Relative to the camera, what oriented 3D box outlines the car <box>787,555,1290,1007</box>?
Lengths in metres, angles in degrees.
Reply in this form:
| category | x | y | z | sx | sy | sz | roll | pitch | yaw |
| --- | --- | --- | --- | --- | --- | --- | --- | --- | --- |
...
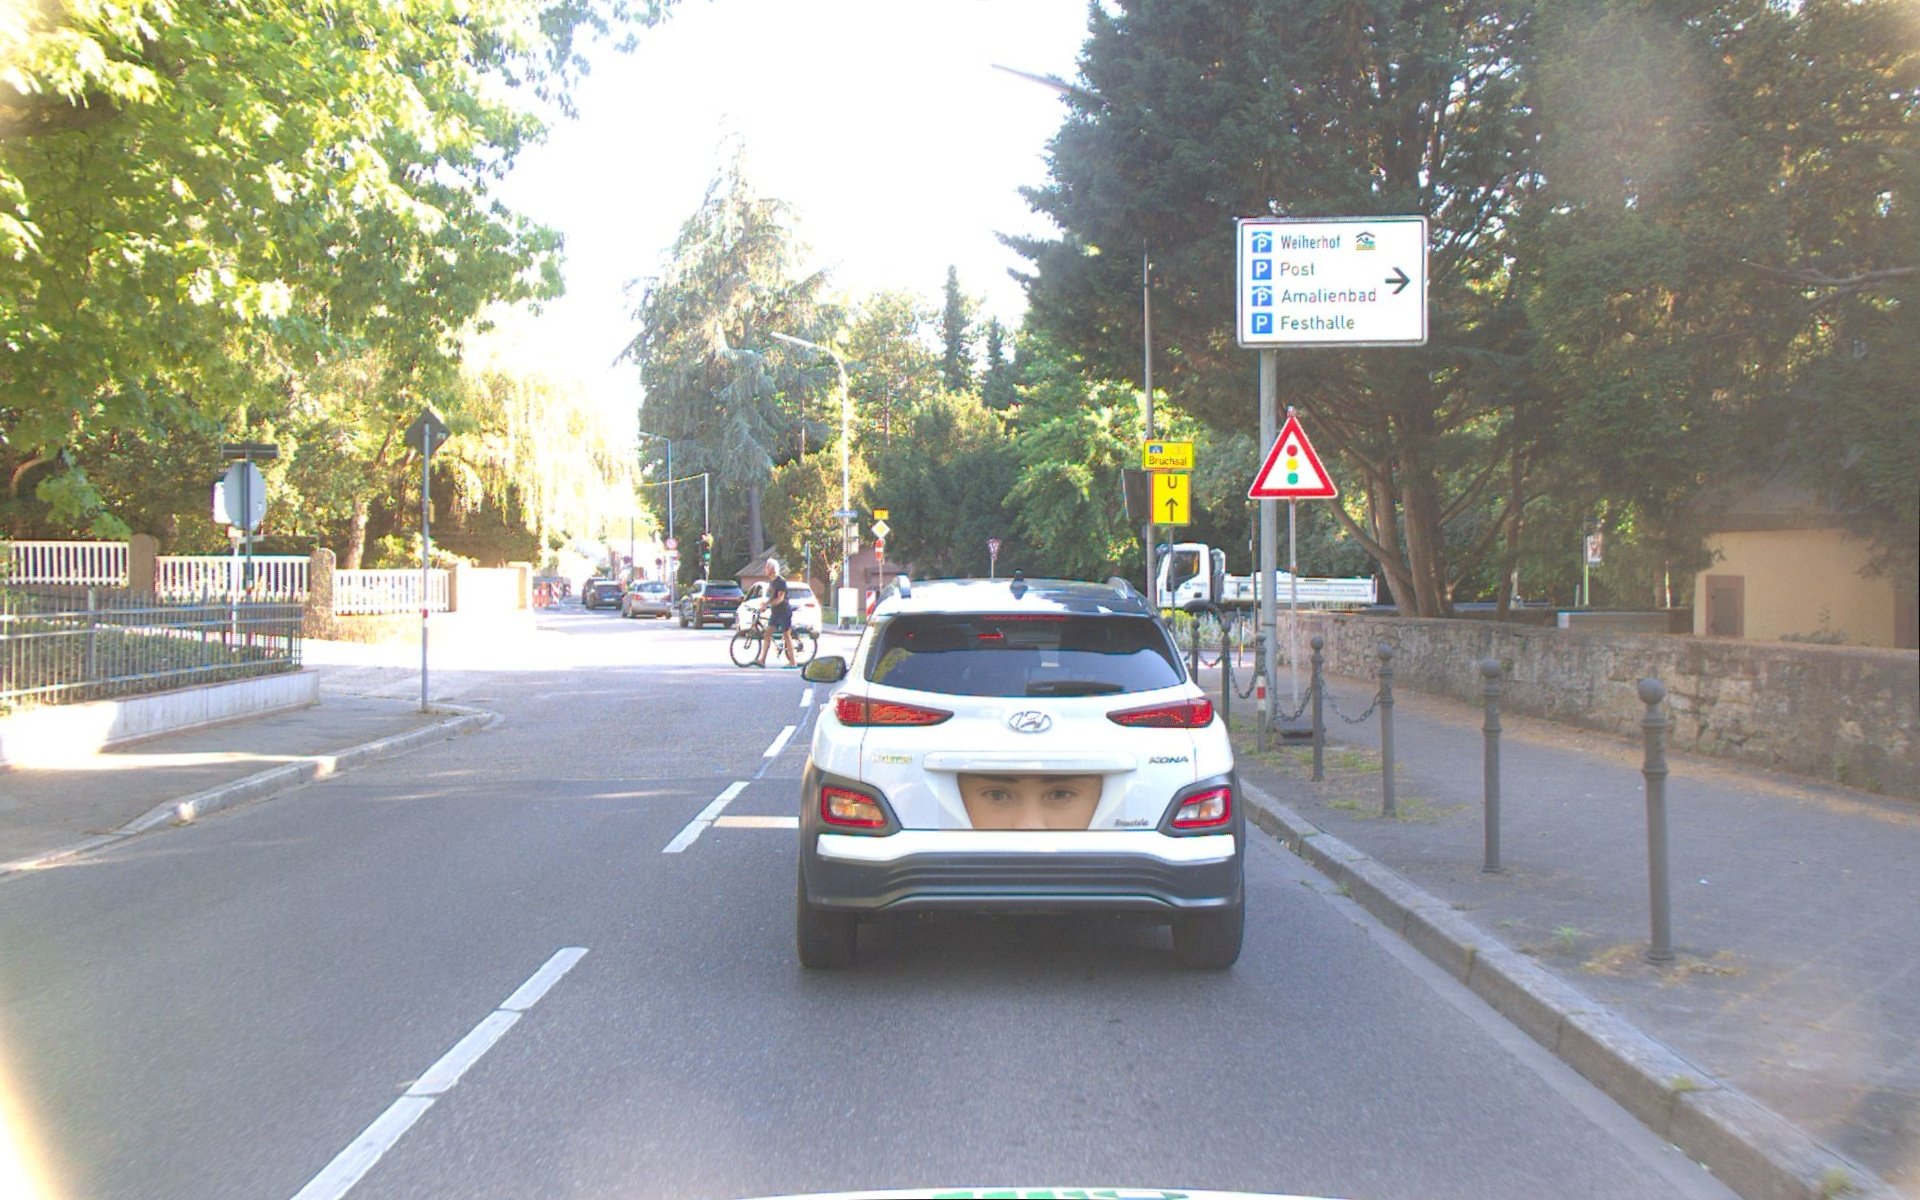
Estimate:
| category | x | y | z | sx | sy | sz | roll | pitch | yaw |
| --- | --- | --- | --- | --- | --- | --- | --- | --- | --- |
| car | 0.247 | 0.639 | 7.942 | 1.783 | 1.601 | 3.999 | 1 | 0 | -1 |

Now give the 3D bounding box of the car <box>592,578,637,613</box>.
| category | x | y | z | sx | sy | sz | roll | pitch | yaw |
| --- | --- | --- | --- | --- | --- | --- | --- | --- | --- |
| car | -17.519 | -0.238 | 83.689 | 1.803 | 1.691 | 3.980 | 2 | 0 | -18 |

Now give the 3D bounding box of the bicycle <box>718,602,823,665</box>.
| category | x | y | z | sx | sy | sz | roll | pitch | yaw |
| --- | --- | --- | --- | --- | --- | --- | --- | --- | --- |
| bicycle | -3.347 | 0.597 | 29.321 | 1.799 | 1.061 | 0.554 | 1 | 2 | -39 |

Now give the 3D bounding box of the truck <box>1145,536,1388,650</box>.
| category | x | y | z | sx | sy | sz | roll | pitch | yaw |
| --- | --- | --- | --- | --- | --- | --- | --- | --- | --- |
| truck | 8.522 | -0.202 | 46.586 | 6.449 | 2.945 | 2.434 | 2 | 0 | 4 |

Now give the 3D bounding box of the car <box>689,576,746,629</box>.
| category | x | y | z | sx | sy | sz | roll | pitch | yaw |
| --- | --- | --- | --- | --- | --- | --- | --- | --- | --- |
| car | -8.245 | 0.073 | 56.489 | 1.797 | 1.691 | 3.994 | 2 | 0 | -7 |

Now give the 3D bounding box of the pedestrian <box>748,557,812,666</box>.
| category | x | y | z | sx | sy | sz | roll | pitch | yaw |
| --- | --- | --- | --- | --- | --- | --- | --- | --- | --- |
| pedestrian | -3.136 | 0.198 | 28.823 | 0.934 | 1.858 | 0.547 | 1 | 0 | -39 |

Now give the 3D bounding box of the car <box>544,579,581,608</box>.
| category | x | y | z | sx | sy | sz | roll | pitch | yaw |
| --- | --- | --- | --- | --- | --- | --- | --- | --- | --- |
| car | -24.258 | -0.414 | 100.816 | 1.804 | 1.691 | 3.978 | 2 | 0 | -19 |

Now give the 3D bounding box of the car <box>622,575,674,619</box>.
| category | x | y | z | sx | sy | sz | roll | pitch | yaw |
| --- | --- | --- | --- | --- | --- | --- | --- | --- | --- |
| car | -13.414 | -0.162 | 70.998 | 1.802 | 1.771 | 3.982 | 2 | 0 | -16 |

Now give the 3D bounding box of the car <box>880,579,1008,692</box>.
| category | x | y | z | sx | sy | sz | roll | pitch | yaw |
| --- | --- | --- | --- | --- | --- | --- | --- | --- | --- |
| car | -0.245 | 0.460 | 24.199 | 1.673 | 1.459 | 4.364 | 2 | 0 | -1 |

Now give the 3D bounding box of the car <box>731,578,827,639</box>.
| category | x | y | z | sx | sy | sz | roll | pitch | yaw |
| --- | --- | --- | --- | --- | --- | --- | --- | --- | --- |
| car | -4.999 | 0.201 | 45.320 | 1.778 | 1.564 | 3.979 | 2 | 0 | -19 |
